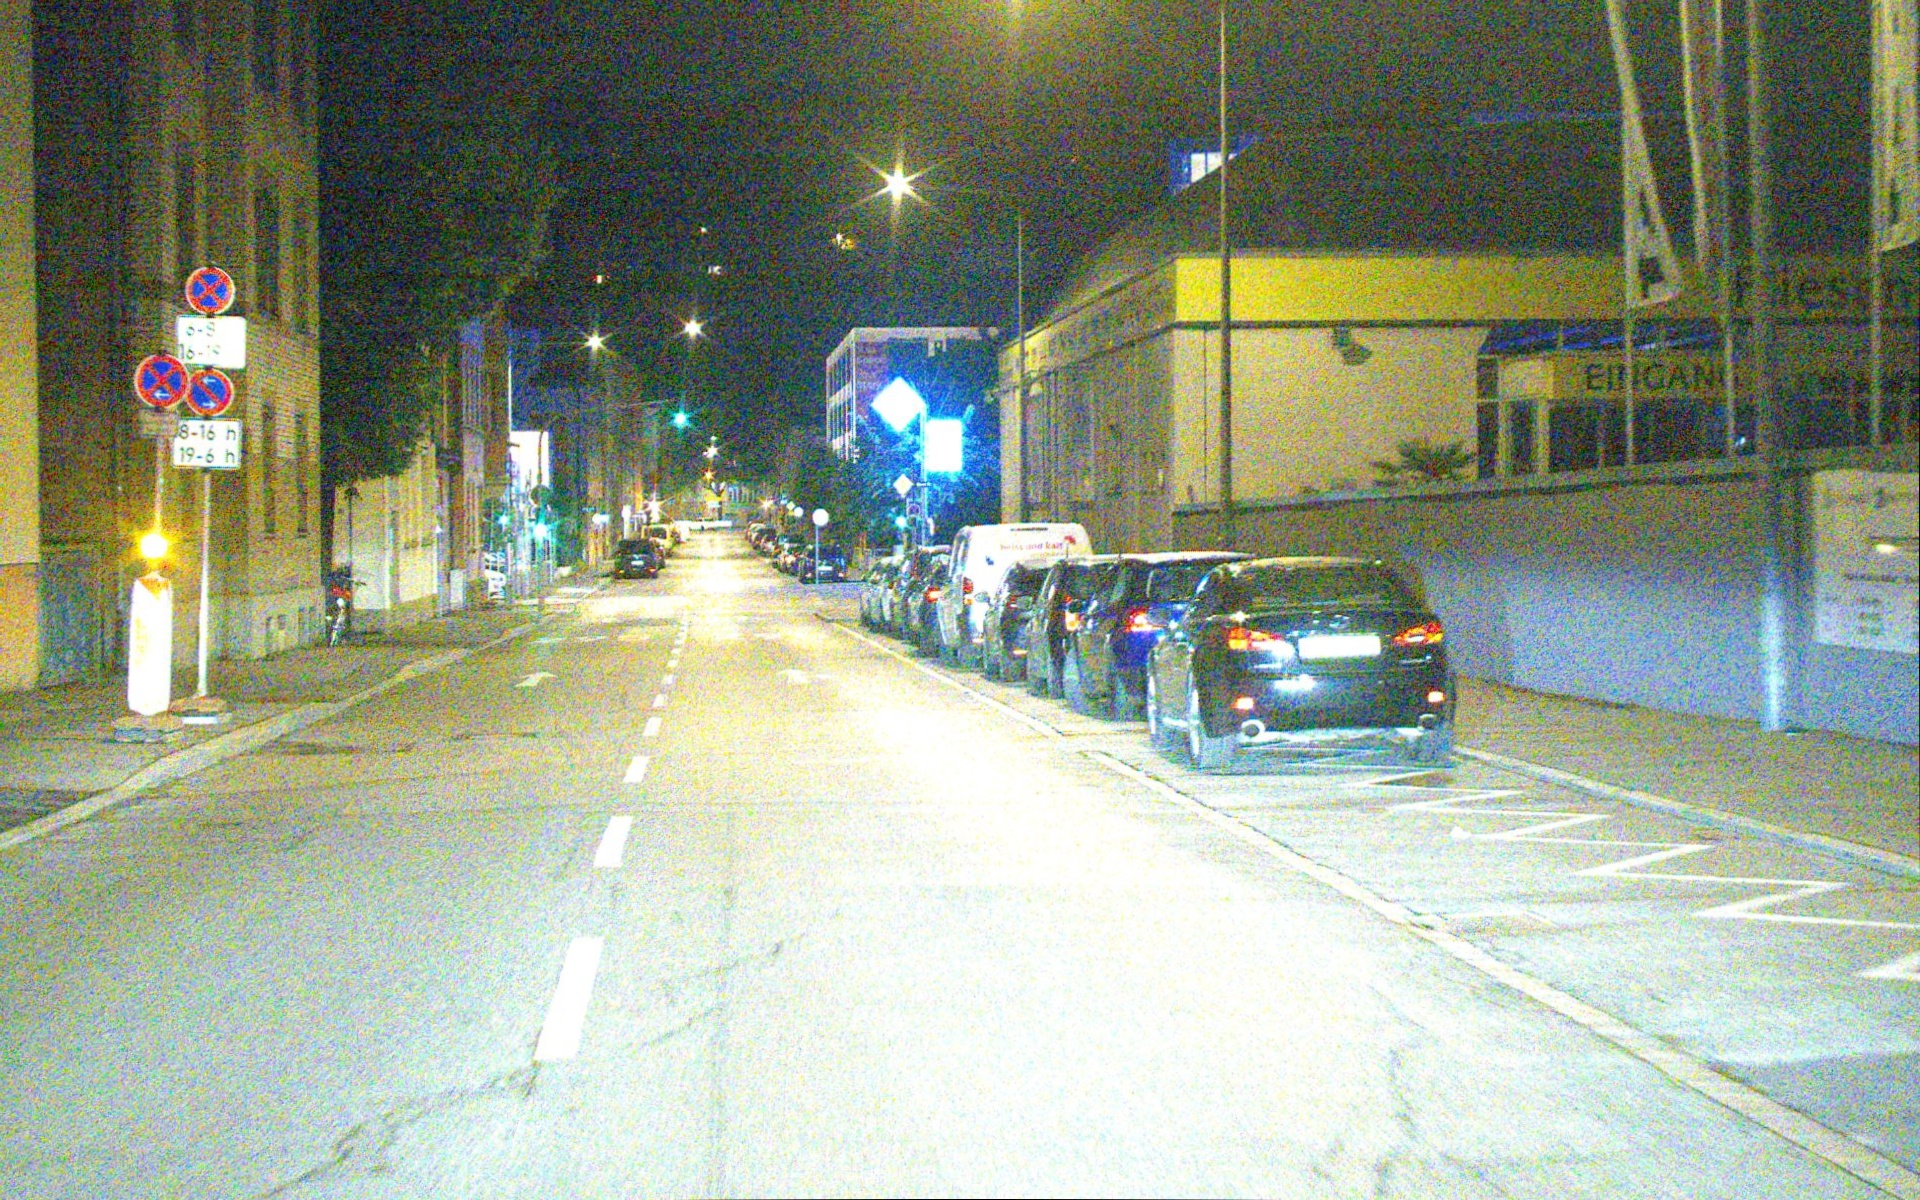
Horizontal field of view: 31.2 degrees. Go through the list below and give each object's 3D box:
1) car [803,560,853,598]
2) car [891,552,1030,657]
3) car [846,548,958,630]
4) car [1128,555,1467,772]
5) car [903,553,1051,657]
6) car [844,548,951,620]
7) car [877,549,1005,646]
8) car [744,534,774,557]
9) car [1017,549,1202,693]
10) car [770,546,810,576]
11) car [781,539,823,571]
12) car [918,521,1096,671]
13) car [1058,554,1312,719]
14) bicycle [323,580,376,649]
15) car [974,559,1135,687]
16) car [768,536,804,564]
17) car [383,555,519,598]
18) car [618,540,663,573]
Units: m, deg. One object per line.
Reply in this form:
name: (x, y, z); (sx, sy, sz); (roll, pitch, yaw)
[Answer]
car: (-5.446, -0.878, 141.592); (1.993, 1.511, 4.001); (0, 1, -3)
car: (-0.040, 0.033, 56.818); (1.823, 1.583, 4.629); (-2, 1, -5)
car: (-1.183, -0.224, 67.686); (1.774, 1.539, 4.547); (0, 0, -6)
car: (2.340, 0.402, 24.937); (1.778, 1.422, 4.481); (0, 0, -3)
car: (0.215, 0.038, 51.743); (1.816, 1.422, 4.189); (-2, 1, -5)
car: (-1.361, -0.343, 73.104); (1.859, 1.484, 4.547); (0, 0, -6)
car: (-0.386, -0.073, 62.172); (1.823, 1.617, 4.459); (-2, 1, -6)
car: (-13.861, -3.749, 237.388); (1.993, 1.515, 4.000); (0, 0, -3)
car: (1.556, 0.200, 36.837); (1.595, 1.462, 3.719); (0, 0, -4)
car: (-8.506, -1.944, 172.388); (1.993, 1.515, 4.000); (0, 0, -3)
car: (-7.584, -2.145, 165.395); (1.993, 1.515, 4.000); (0, 0, -3)
car: (0.586, -0.095, 46.969); (1.800, 1.868, 4.775); (-2, 1, -6)
car: (2.008, 0.301, 31.714); (1.778, 1.422, 3.892); (0, 0, -5)
bicycle: (-9.529, 0.217, 53.708); (0.619, 1.048, 1.722); (0, 0, -3)
car: (1.091, 0.247, 41.496); (1.595, 1.462, 3.892); (0, 0, -4)
car: (-9.600, -2.754, 189.956); (1.993, 1.515, 4.000); (0, 0, -3)
car: (-17.303, -0.801, 116.913); (4.438, 1.445, 2.000); (0, 0, -4)
car: (-14.814, -2.014, 159.354); (1.993, 1.497, 4.001); (0, 0, -4)
